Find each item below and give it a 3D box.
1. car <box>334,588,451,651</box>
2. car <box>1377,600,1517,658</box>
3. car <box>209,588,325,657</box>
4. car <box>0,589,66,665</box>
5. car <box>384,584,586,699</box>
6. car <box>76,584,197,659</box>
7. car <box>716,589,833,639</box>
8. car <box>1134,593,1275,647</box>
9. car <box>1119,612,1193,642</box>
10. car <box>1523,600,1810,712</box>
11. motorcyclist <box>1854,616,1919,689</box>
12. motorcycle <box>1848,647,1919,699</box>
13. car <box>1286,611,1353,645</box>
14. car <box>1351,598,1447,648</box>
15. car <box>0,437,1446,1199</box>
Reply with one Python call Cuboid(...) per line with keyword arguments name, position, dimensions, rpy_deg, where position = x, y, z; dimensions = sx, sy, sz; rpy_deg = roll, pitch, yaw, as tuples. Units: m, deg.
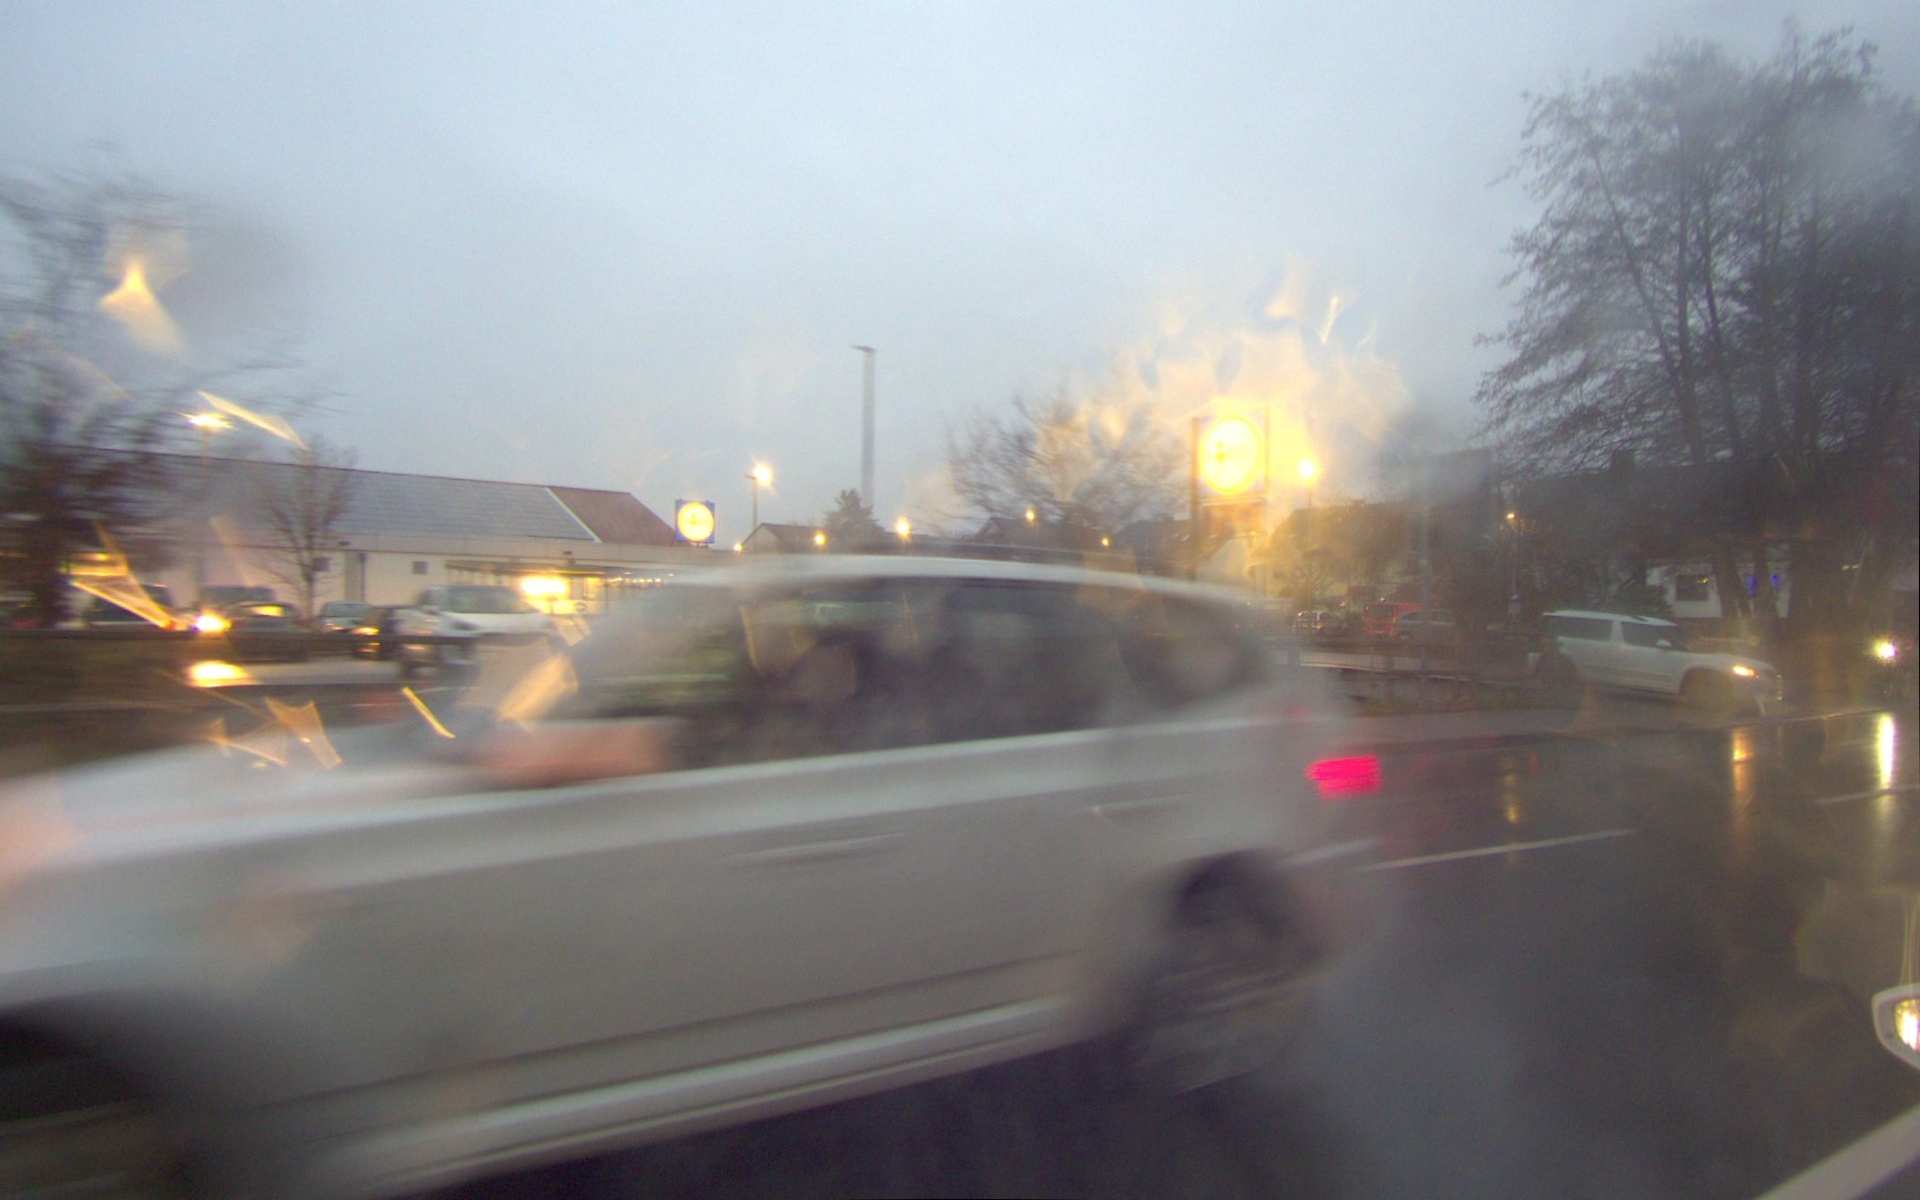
Cuboid(name="car", position=(-15.671, 0.530, 27.623), dimensions=(2.039, 1.584, 4.393), rpy_deg=(0, -1, -40))
Cuboid(name="car", position=(19.479, 1.084, 40.277), dimensions=(4.598, 2.004, 2.114), rpy_deg=(3, 3, 45))
Cuboid(name="car", position=(-17.742, 0.567, 25.644), dimensions=(2.039, 1.584, 4.393), rpy_deg=(0, -1, -40))
Cuboid(name="car", position=(-21.469, 0.611, 22.484), dimensions=(2.039, 1.584, 4.393), rpy_deg=(0, -1, -40))
Cuboid(name="car", position=(-8.425, 0.620, 17.576), dimensions=(2.017, 1.734, 4.729), rpy_deg=(1, 0, -41))
Cuboid(name="car", position=(-19.354, 0.501, 23.618), dimensions=(2.039, 1.584, 4.393), rpy_deg=(0, -1, -40))
Cuboid(name="car", position=(-6.365, 0.483, 34.201), dimensions=(2.039, 1.584, 4.393), rpy_deg=(0, -1, -40))
Cuboid(name="car", position=(8.178, 0.621, 33.946), dimensions=(1.951, 1.694, 4.372), rpy_deg=(0, 1, -39))
Cuboid(name="car", position=(12.140, 1.634, 62.082), dimensions=(4.621, 1.590, 2.031), rpy_deg=(-1, 3, -39))
Cuboid(name="car", position=(13.661, 0.993, 19.638), dimensions=(1.884, 1.722, 4.191), rpy_deg=(1, 2, -39))
Cuboid(name="motorcyclist", position=(20.125, 1.129, 21.803), dimensions=(0.900, 1.505, 0.859), rpy_deg=(1, 0, -36))
Cuboid(name="motorcycle", position=(20.257, 1.571, 21.919), dimensions=(2.089, 1.037, 0.859), rpy_deg=(2, 0, -36))
Cuboid(name="car", position=(19.524, 1.481, 54.494), dimensions=(3.678, 1.662, 1.680), rpy_deg=(-1, 4, -39))
Cuboid(name="car", position=(22.080, 1.086, 50.446), dimensions=(5.223, 2.310, 2.262), rpy_deg=(-1, 3, -39))
Cuboid(name="car", position=(-0.696, 0.620, 3.167), dimensions=(4.365, 1.746, 1.765), rpy_deg=(1, 0, -28))
